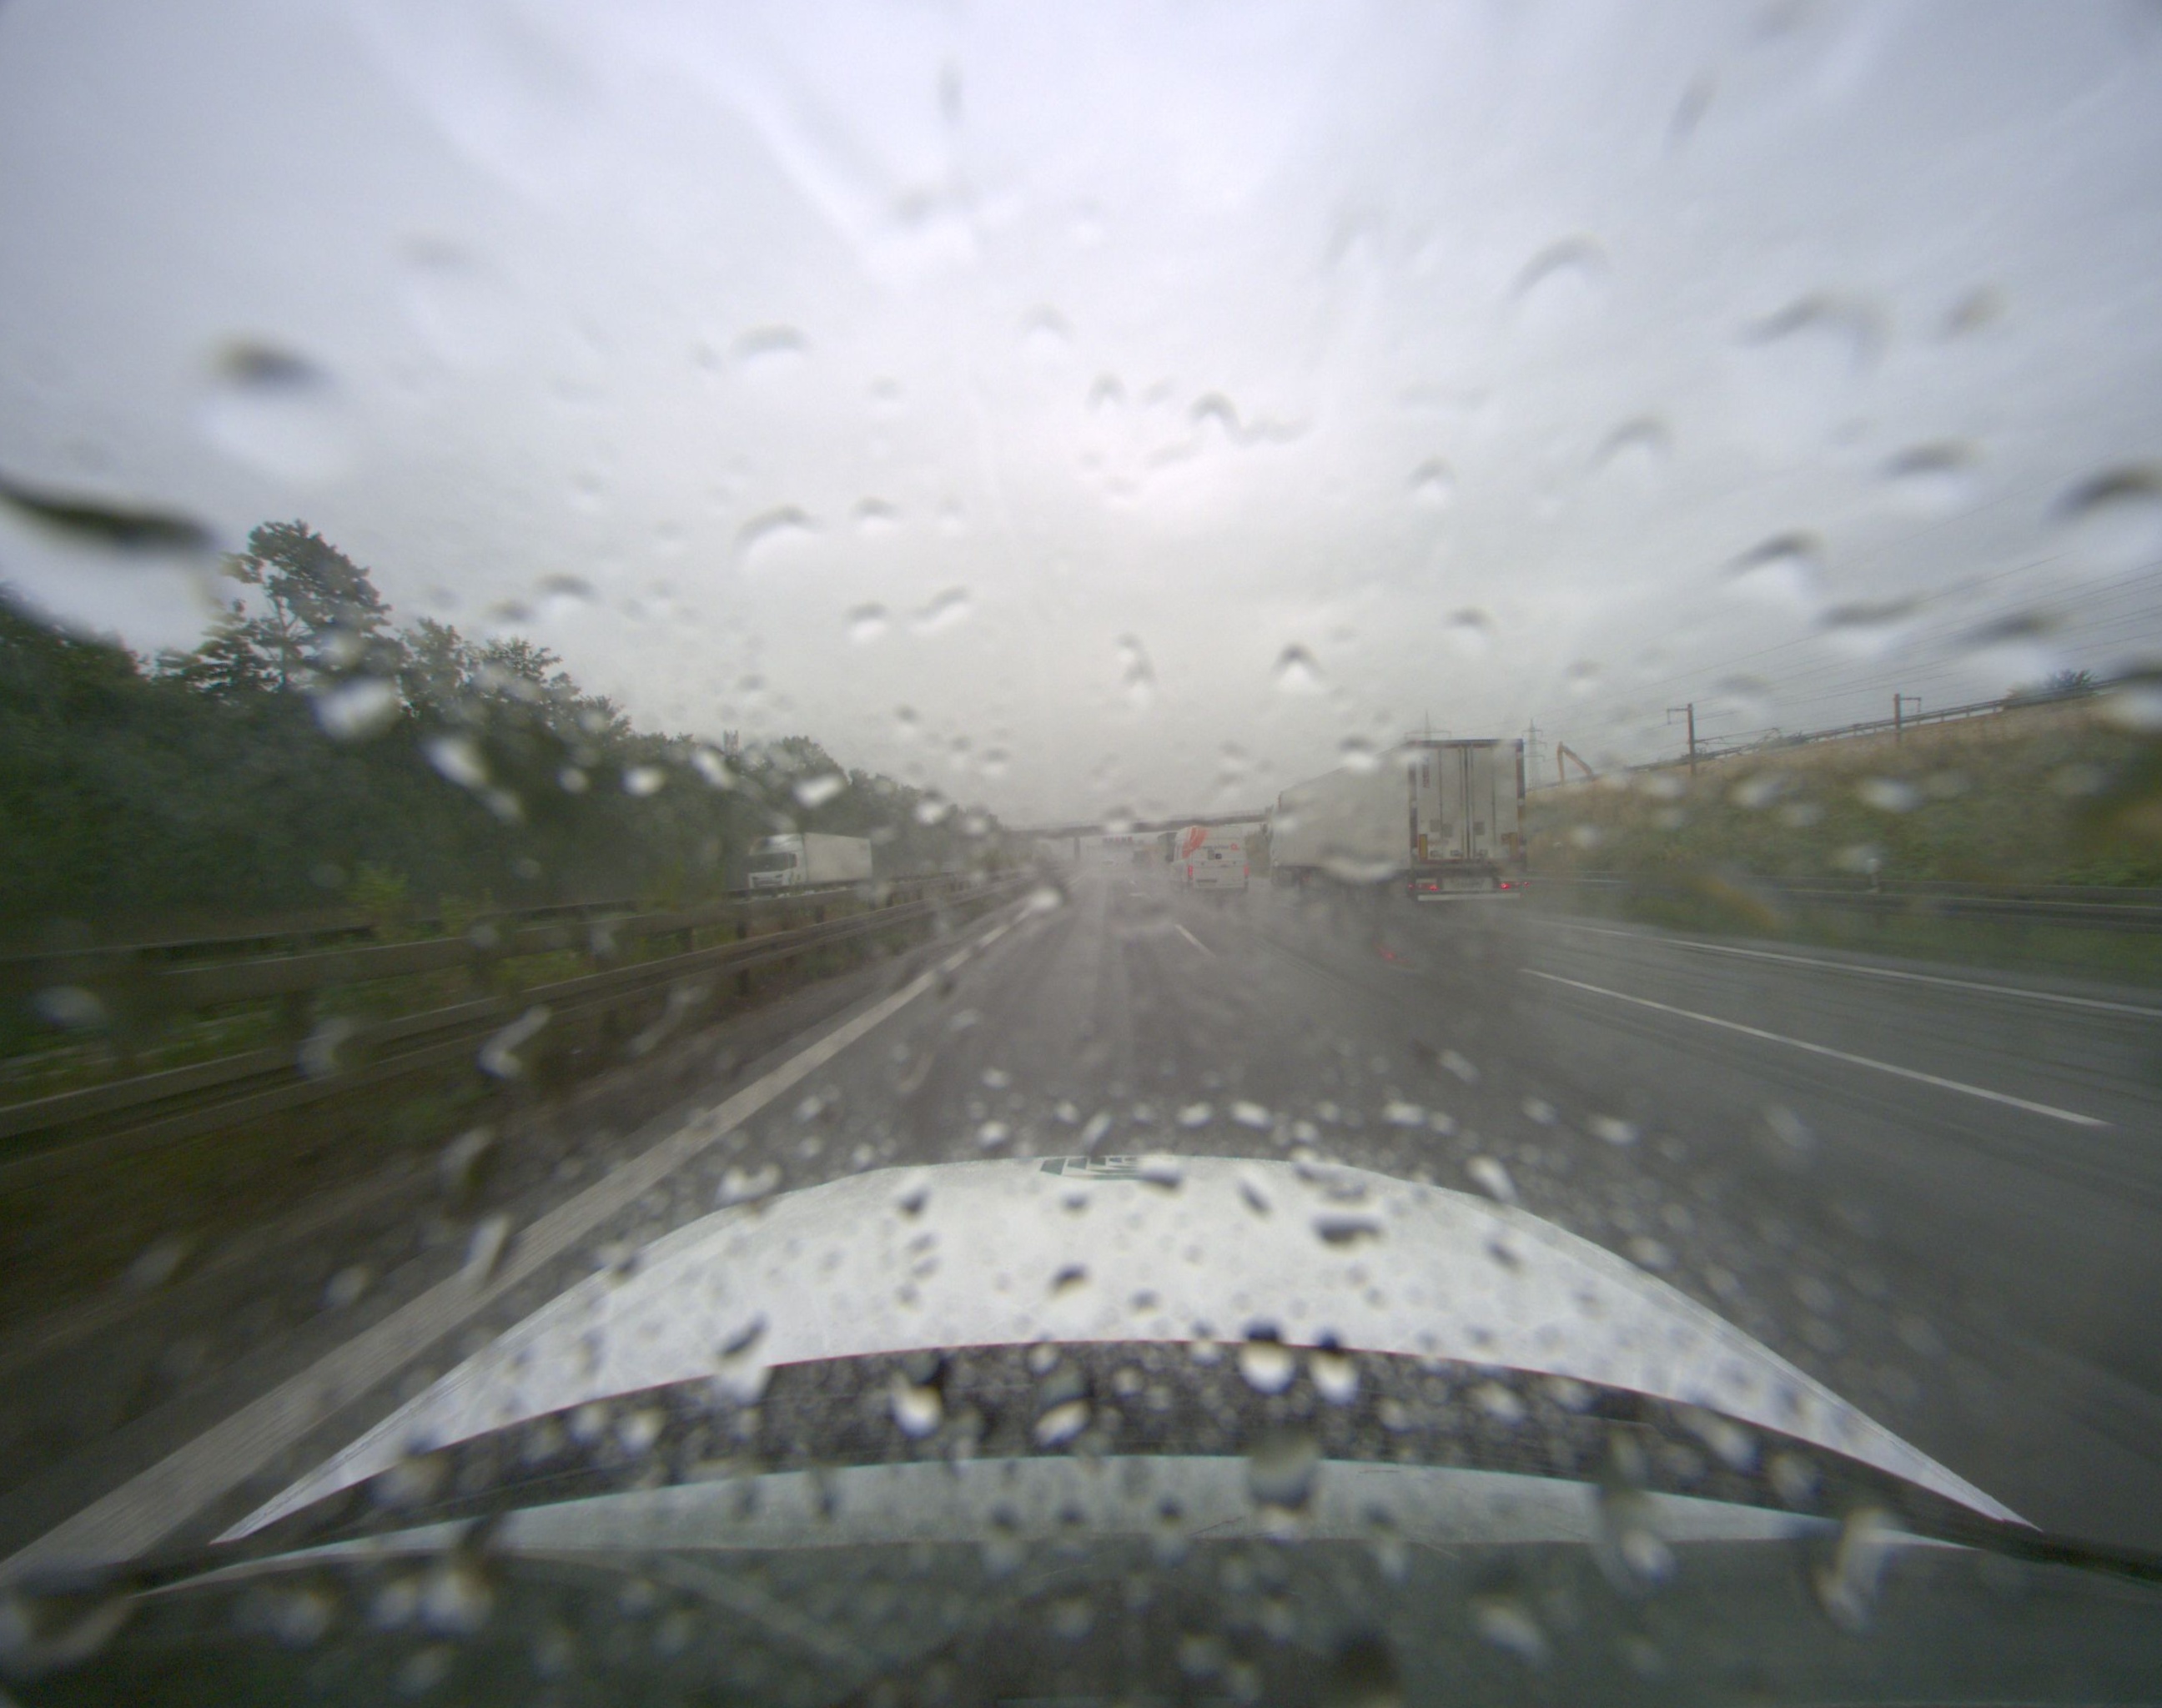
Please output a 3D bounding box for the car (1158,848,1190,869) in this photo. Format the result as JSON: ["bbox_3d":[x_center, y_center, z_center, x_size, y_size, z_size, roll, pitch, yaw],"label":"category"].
[{"bbox_3d":[9.417,0.405,82.784,2.778,2.013,4.995,-1,1,2],"label":"car"}]

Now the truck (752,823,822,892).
[{"bbox_3d":[-17.164,0.262,47.880,2.035,3.804,5.227,-1,-1,2],"label":"truck"}]

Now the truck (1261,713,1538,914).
[{"bbox_3d":[9.159,-0.935,26.942,3.029,4.588,16.354,-1,0,1],"label":"truck"}]

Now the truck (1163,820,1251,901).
[{"bbox_3d":[4.189,0.149,28.116,2.410,2.492,5.564,-1,1,2],"label":"truck"}]

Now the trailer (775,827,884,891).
[{"bbox_3d":[-16.834,0.388,56.113,1.993,3.772,15.536,-1,-1,2],"label":"trailer"}]

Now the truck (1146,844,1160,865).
[{"bbox_3d":[12.755,0.041,145.162,2.102,3.516,5.248,-1,1,0],"label":"truck"}]
